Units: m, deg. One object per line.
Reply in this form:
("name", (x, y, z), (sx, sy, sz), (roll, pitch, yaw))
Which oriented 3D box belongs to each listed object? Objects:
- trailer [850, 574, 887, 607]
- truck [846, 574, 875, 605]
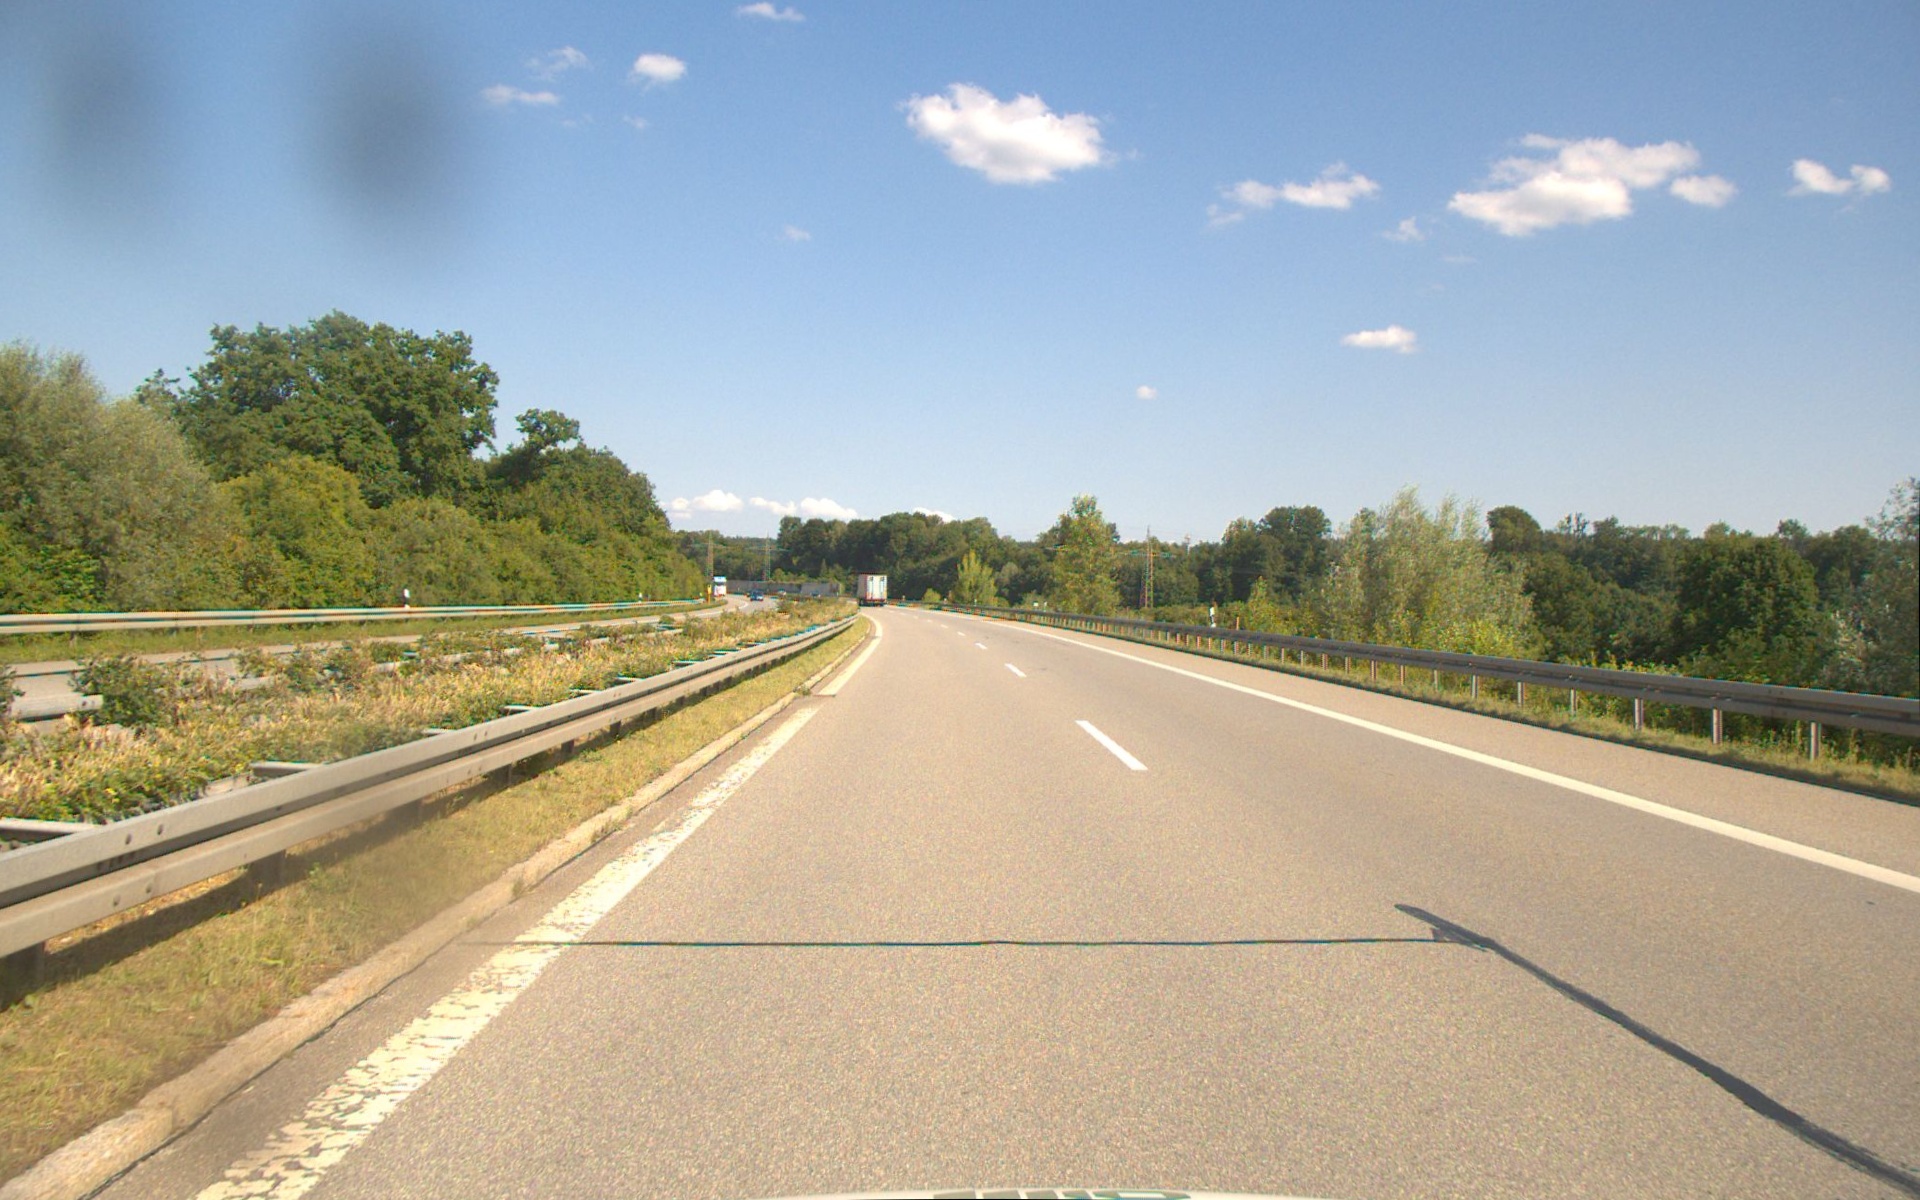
("trailer", (-11.977, -1.301, 215.417), (2.834, 4.137, 12.380), (0, 0, -13))
("truck", (-13.365, -1.439, 221.496), (2.782, 4.082, 6.564), (0, 0, -14))
